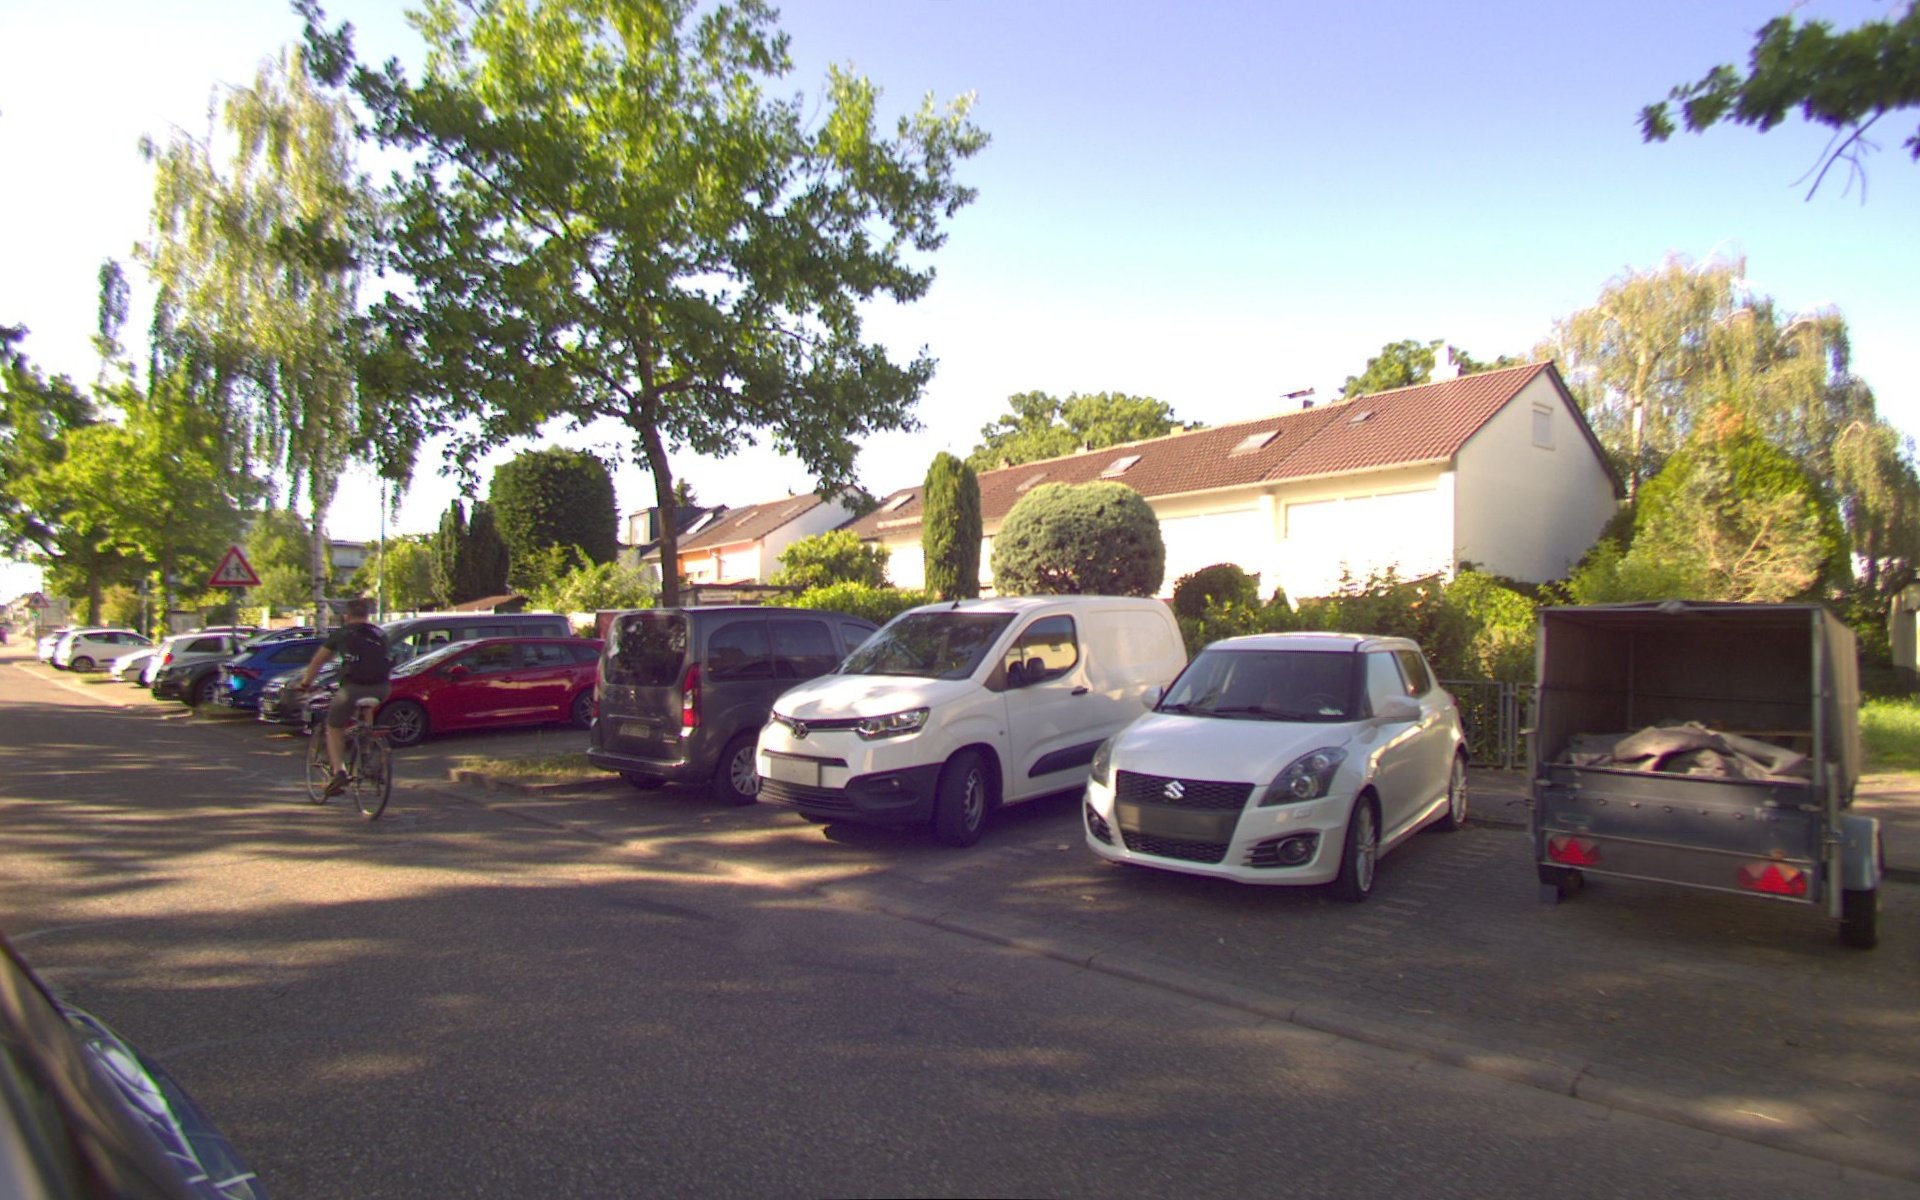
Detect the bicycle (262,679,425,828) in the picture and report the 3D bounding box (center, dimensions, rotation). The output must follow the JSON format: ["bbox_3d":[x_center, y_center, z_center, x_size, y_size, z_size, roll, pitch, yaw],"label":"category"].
[{"bbox_3d":[-5.281,1.243,8.612,1.986,1.066,0.590,-1,-5,42],"label":"bicycle"}]

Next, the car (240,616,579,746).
[{"bbox_3d":[-8.946,1.208,16.801,1.794,1.782,4.625,-2,-1,40],"label":"car"}]

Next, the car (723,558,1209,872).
[{"bbox_3d":[0.297,0.804,8.612,1.997,1.959,4.195,-2,-3,38],"label":"car"}]

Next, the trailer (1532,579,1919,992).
[{"bbox_3d":[4.226,0.797,5.412,1.475,1.686,2.210,-2,-3,45],"label":"trailer"}]

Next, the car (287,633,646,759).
[{"bbox_3d":[-7.138,1.280,14.986,1.837,1.511,4.426,-2,-2,44],"label":"car"}]

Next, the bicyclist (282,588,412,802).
[{"bbox_3d":[-5.192,0.778,8.562,0.975,1.687,0.589,-2,-5,42],"label":"bicyclist"}]

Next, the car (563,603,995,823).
[{"bbox_3d":[-1.661,0.941,10.520,1.965,1.783,4.198,-1,-1,38],"label":"car"}]

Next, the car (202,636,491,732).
[{"bbox_3d":[-11.069,1.431,18.486,1.723,1.435,4.225,-2,-1,42],"label":"car"}]

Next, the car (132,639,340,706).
[{"bbox_3d":[-18.009,1.740,25.302,1.795,1.526,3.957,-2,-2,43],"label":"car"}]

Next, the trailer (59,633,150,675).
[{"bbox_3d":[-36.115,2.241,42.752,1.298,1.660,2.732,1,0,38],"label":"trailer"}]

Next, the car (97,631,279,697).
[{"bbox_3d":[-21.884,1.764,28.791,1.706,1.626,3.895,-2,-1,43],"label":"car"}]

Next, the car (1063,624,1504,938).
[{"bbox_3d":[2.473,0.934,7.042,1.688,1.528,3.949,-1,-2,37],"label":"car"}]

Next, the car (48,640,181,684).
[{"bbox_3d":[-30.875,2.226,37.010,1.707,1.507,3.478,-2,-3,40],"label":"car"}]

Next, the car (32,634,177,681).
[{"bbox_3d":[-32.742,2.165,38.813,1.918,1.586,3.918,0,0,36],"label":"car"}]

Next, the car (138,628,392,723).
[{"bbox_3d":[-14.608,1.497,21.452,1.760,1.737,4.165,-1,-1,41],"label":"car"}]
